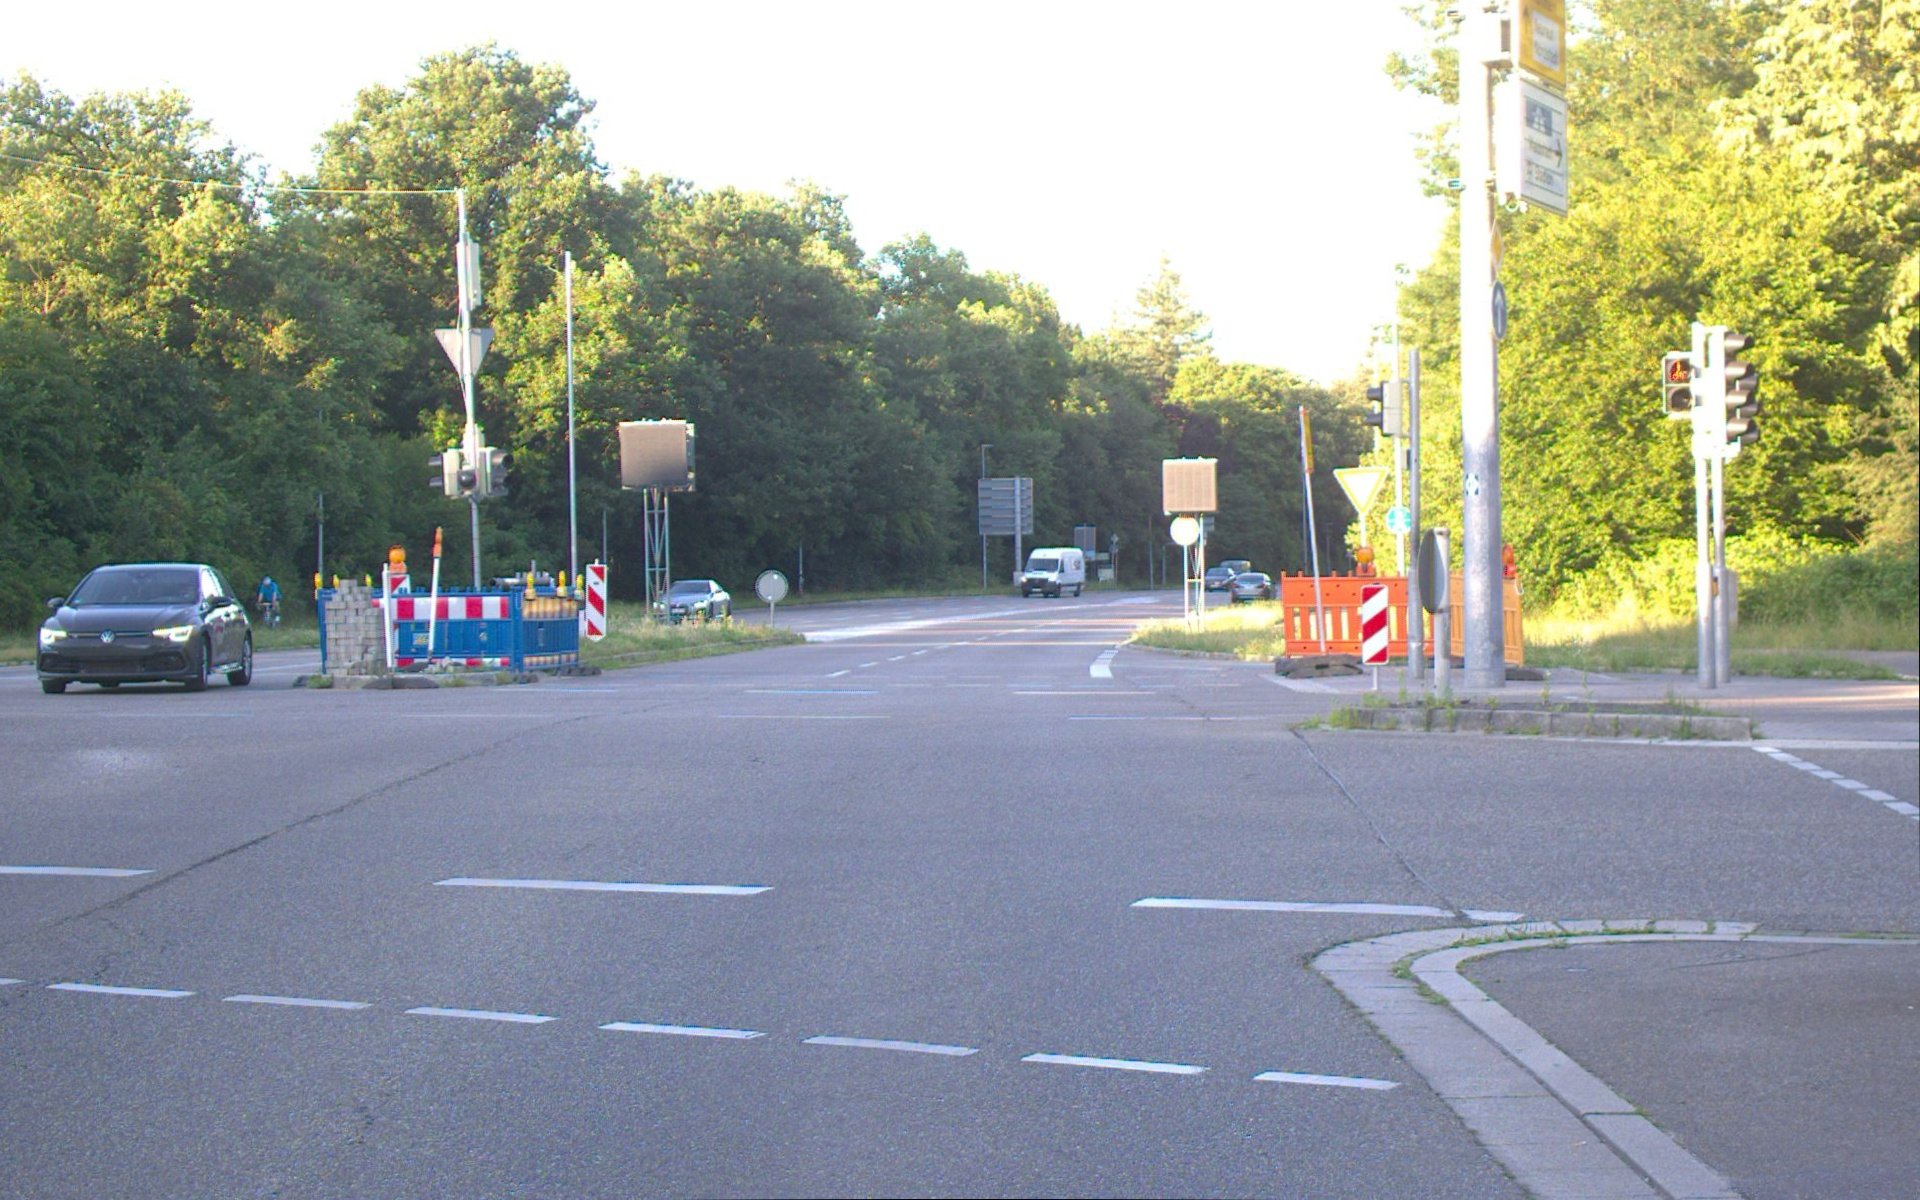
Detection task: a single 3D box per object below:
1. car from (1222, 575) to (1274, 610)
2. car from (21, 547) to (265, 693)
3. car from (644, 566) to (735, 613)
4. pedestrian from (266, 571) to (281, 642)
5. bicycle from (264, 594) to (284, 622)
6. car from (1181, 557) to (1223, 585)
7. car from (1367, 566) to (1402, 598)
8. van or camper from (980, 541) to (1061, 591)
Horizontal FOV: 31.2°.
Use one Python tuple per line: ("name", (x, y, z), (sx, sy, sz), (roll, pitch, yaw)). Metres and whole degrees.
("car", (14.019, -0.377, 167.159), (1.994, 1.612, 3.998), (0, 1, 12))
("car", (-9.147, 0.173, 38.850), (1.993, 1.524, 4.679), (-1, 1, -5))
("car", (-8.597, -0.347, 109.567), (1.994, 1.415, 3.999), (0, 1, 9))
("pedestrian", (-19.374, 0.178, 97.058), (0.334, 2.007, 0.315), (-1, 1, -1))
("bicycle", (-19.370, 0.224, 97.041), (0.308, 0.763, 1.278), (-1, 1, -1))
("car", (15.394, -1.854, 218.388), (1.994, 1.634, 3.998), (-2, 2, 13))
("car", (27.657, -1.187, 224.005), (1.789, 2.007, 3.998), (-1, 1, 14))
("van or camper", (3.316, -1.871, 186.290), (2.887, 2.643, 7.118), (0, 1, 14))
